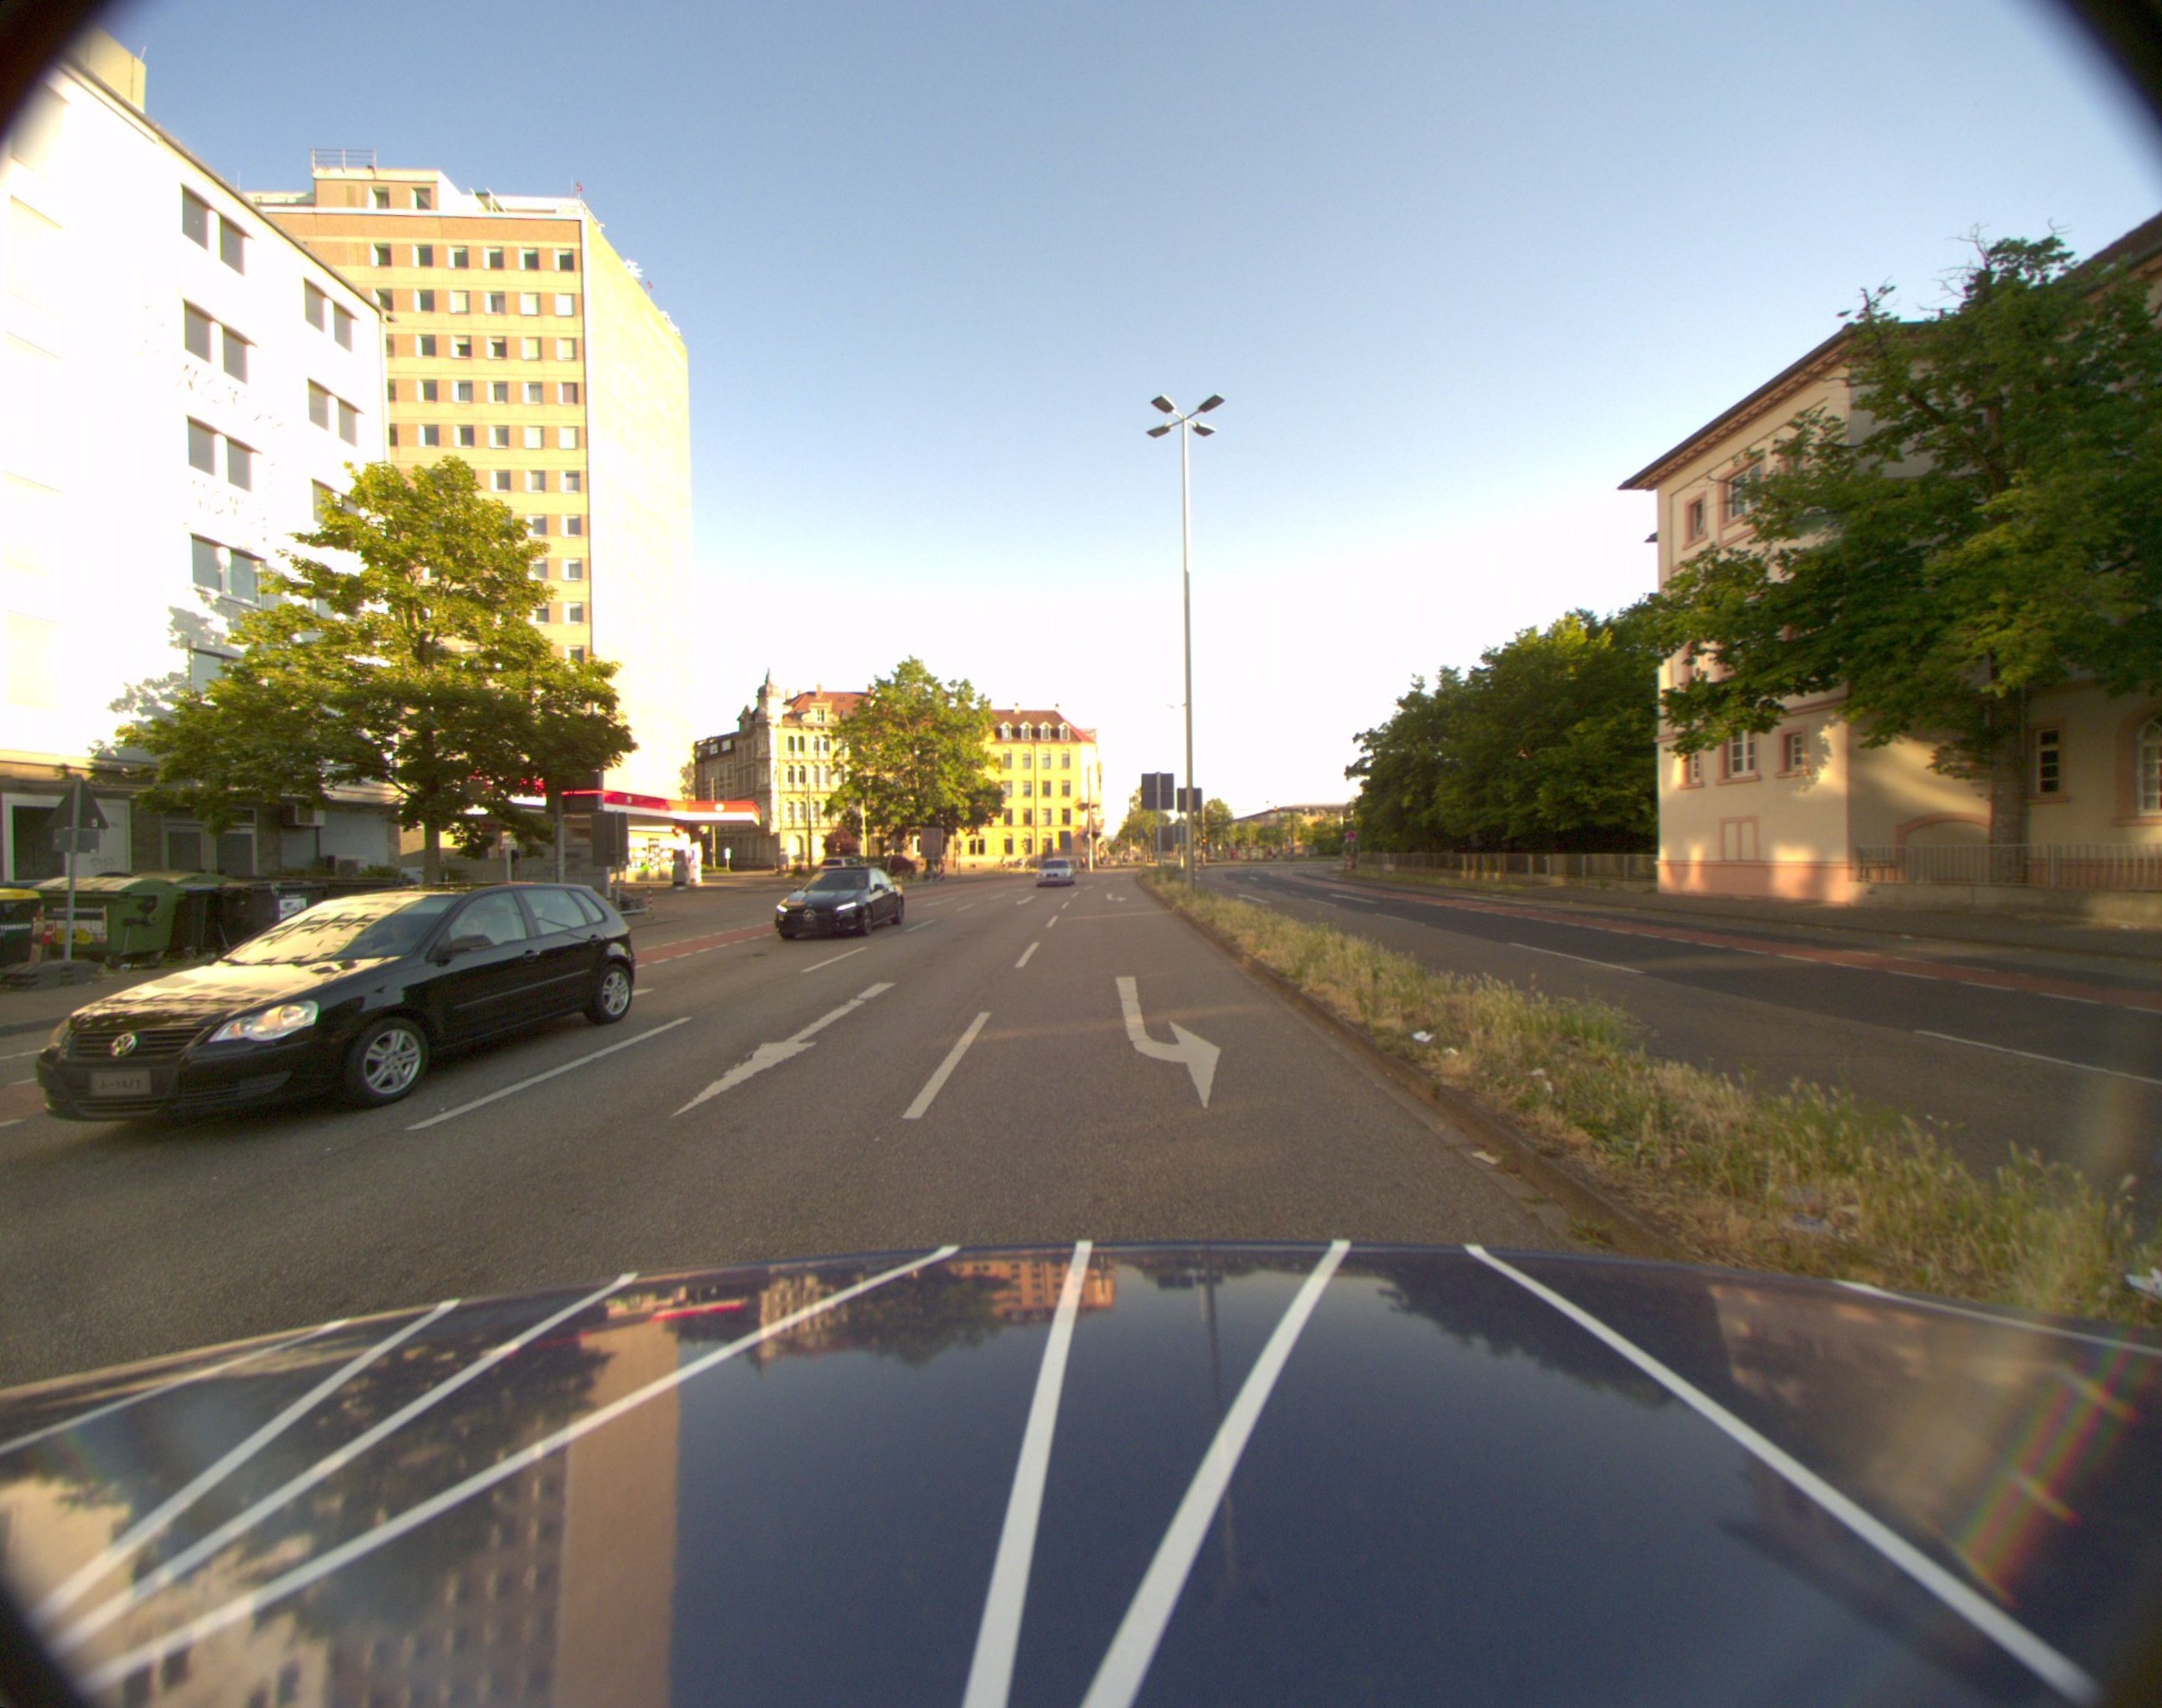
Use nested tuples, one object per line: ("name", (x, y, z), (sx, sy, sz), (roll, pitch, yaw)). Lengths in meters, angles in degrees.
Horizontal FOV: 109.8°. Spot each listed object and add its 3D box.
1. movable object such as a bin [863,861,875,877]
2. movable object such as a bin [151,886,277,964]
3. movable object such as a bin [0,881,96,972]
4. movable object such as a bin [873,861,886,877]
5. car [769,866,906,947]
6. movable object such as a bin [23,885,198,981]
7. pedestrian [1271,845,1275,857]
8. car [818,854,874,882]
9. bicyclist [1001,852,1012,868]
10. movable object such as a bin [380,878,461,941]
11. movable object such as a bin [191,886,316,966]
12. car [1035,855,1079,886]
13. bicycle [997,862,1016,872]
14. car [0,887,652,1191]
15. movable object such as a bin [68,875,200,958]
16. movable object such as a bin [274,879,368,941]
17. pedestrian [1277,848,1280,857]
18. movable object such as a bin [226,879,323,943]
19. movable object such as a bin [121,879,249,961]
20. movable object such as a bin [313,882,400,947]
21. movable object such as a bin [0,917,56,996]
("movable object such as a bin", (-13.868, 0.988, 49.771), (0.544, 1.013, 0.688), (-1, 1, 5))
("movable object such as a bin", (-16.039, 1.281, 14.101), (0.956, 1.320, 1.162), (-1, 1, -2))
("movable object such as a bin", (-18.690, 1.258, 13.411), (1.034, 1.490, 1.162), (-1, 1, -2))
("movable object such as a bin", (-13.147, 0.973, 49.560), (0.544, 1.013, 0.688), (-1, 1, 5))
("car", (-5.165, 1.046, 16.689), (1.731, 1.441, 4.045), (-2, 0, -1))
("movable object such as a bin", (-15.850, 1.262, 12.462), (1.351, 1.415, 1.105), (-1, 1, -4))
("pedestrian", (33.766, -0.501, 133.498), (0.556, 2.002, 0.664), (-1, 1, 1))
("car", (-13.953, 0.819, 45.282), (1.688, 1.508, 3.797), (-1, 1, 8))
("bicyclist", (-7.607, 0.648, 77.906), (1.065, 1.639, 0.732), (-1, 1, -7))
("movable object such as a bin", (-14.880, 1.237, 17.142), (0.956, 1.320, 0.953), (-1, 1, -2))
("movable object such as a bin", (-14.985, 1.282, 13.809), (0.956, 1.320, 1.162), (-1, 1, -2))
("car", (-1.171, 0.827, 39.324), (1.674, 1.410, 4.442), (-2, 0, 6))
("bicycle", (-7.632, 1.341, 77.882), (1.927, 1.053, 0.451), (-1, 1, -7))
("car", (-5.373, 1.099, 6.078), (1.584, 1.441, 3.872), (-2, 0, 1))
("movable object such as a bin", (-18.299, 1.174, 14.723), (1.034, 1.490, 1.162), (-1, 1, -2))
("movable object such as a bin", (-16.932, 1.233, 16.966), (0.956, 1.276, 1.098), (-1, 1, -2))
("pedestrian", (34.701, -0.255, 133.393), (0.467, 1.695, 0.419), (-1, 1, 1))
("movable object such as a bin", (-17.930, 1.246, 16.922), (0.956, 1.320, 1.098), (-1, 1, -2))
("movable object such as a bin", (-17.123, 1.236, 14.569), (1.034, 1.440, 1.162), (-1, 1, -2))
("movable object such as a bin", (-15.861, 1.310, 16.667), (0.956, 1.320, 0.953), (-1, 1, -2))
("movable object such as a bin", (-15.513, 1.459, 10.752), (0.853, 1.039, 0.819), (-1, 1, -4))
